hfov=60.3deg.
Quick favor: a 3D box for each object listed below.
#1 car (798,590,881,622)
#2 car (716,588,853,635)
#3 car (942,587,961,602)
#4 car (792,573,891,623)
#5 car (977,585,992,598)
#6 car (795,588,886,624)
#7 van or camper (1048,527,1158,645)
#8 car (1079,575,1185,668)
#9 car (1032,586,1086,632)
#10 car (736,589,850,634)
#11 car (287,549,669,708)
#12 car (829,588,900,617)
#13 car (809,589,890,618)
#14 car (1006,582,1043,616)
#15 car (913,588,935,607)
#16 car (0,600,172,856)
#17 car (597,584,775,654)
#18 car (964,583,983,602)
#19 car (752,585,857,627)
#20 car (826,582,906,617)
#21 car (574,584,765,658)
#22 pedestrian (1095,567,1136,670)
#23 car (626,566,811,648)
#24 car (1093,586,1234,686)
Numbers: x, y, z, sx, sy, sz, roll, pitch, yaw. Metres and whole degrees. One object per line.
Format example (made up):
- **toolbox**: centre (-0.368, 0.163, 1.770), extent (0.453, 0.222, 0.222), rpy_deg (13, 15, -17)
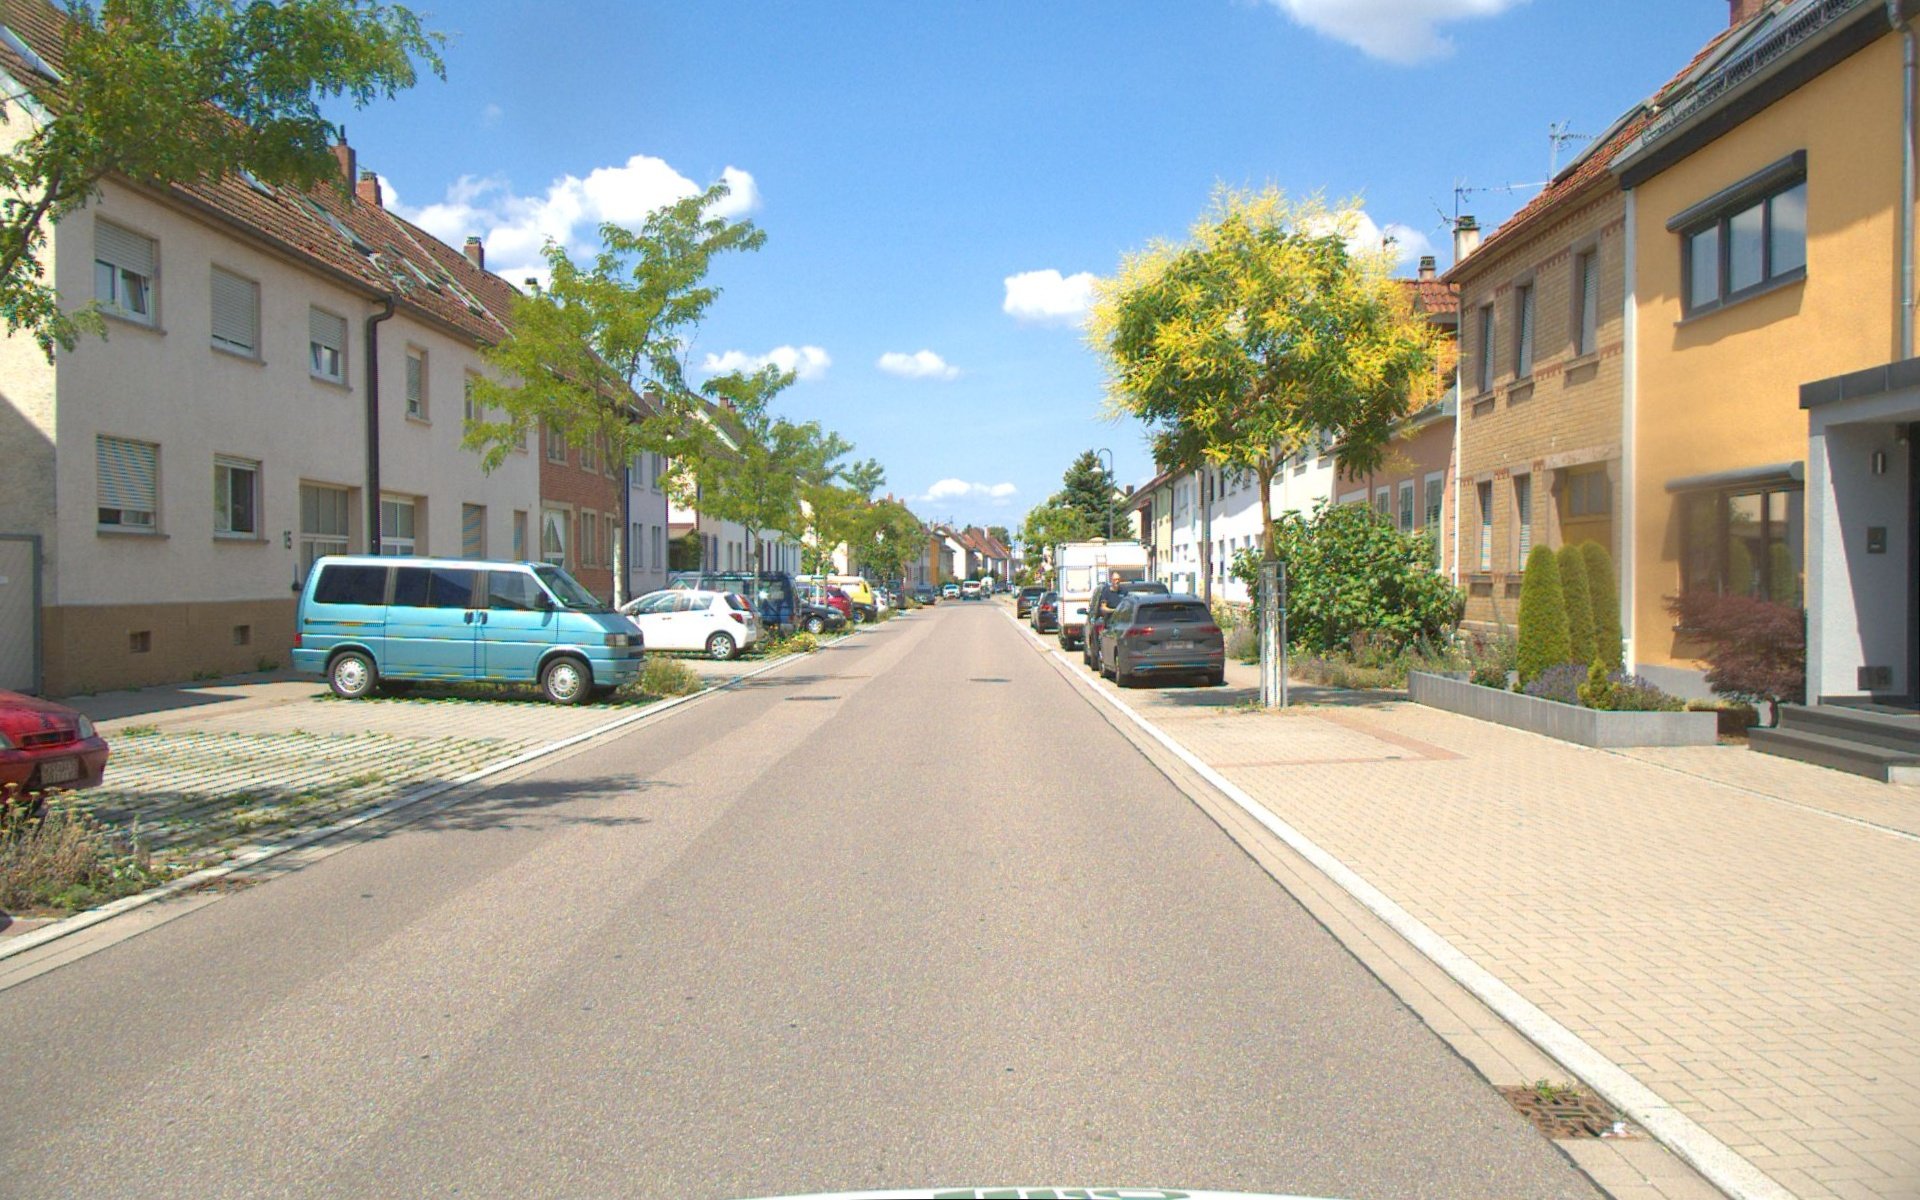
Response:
- **car**: centre (-5.958, 0.286, 81.809), extent (3.995, 1.493, 1.750), rpy_deg (1, 0, -8)
- **car**: centre (-5.938, 0.384, 56.259), extent (4.431, 1.450, 1.796), rpy_deg (1, 0, 0)
- **car**: centre (-0.984, -0.616, 193.410), extent (1.811, 1.688, 4.002), rpy_deg (2, 0, 3)
- **car**: centre (-5.509, -0.081, 77.299), extent (4.416, 2.215, 1.925), rpy_deg (1, 0, 0)
- **car**: centre (3.030, -1.086, 203.664), extent (1.726, 1.549, 4.049), rpy_deg (-1, 0, 0)
- **car**: centre (-5.363, 0.263, 74.712), extent (3.927, 1.485, 1.755), rpy_deg (1, 0, 0)
- **van or camper**: centre (3.677, -0.370, 43.624), extent (2.422, 2.859, 5.790), rpy_deg (-1, 1, 0)
- **car**: centre (3.372, 0.398, 33.099), extent (1.730, 1.734, 4.325), rpy_deg (0, 0, 1)
- **car**: centre (3.466, 0.312, 58.362), extent (1.730, 1.556, 4.007), rpy_deg (0, 0, 1)
- **car**: centre (-6.044, 0.416, 60.245), extent (3.972, 1.503, 1.775), rpy_deg (1, 0, -2)
- **car**: centre (-6.511, 0.382, 22.741), extent (4.580, 1.940, 2.000), rpy_deg (2, -1, 1)
- **car**: centre (-5.576, 0.146, 96.707), extent (4.100, 1.596, 1.773), rpy_deg (2, -1, -3)
- **car**: centre (-5.996, 0.209, 89.830), extent (4.205, 1.493, 1.774), rpy_deg (1, -1, 2)
- **car**: centre (3.379, -0.072, 85.731), extent (1.825, 1.664, 4.448), rpy_deg (-2, 1, 3)
- **car**: centre (-3.169, -0.240, 144.505), extent (1.780, 1.458, 4.138), rpy_deg (4, 2, -2)
- **car**: centre (-7.121, 0.676, 10.130), extent (3.705, 1.409, 1.726), rpy_deg (2, 0, 1)
- **car**: centre (-6.460, 0.438, 39.220), extent (3.834, 1.514, 1.773), rpy_deg (1, 0, 2)
- **car**: centre (1.453, -0.823, 177.155), extent (1.981, 1.984, 4.898), rpy_deg (0, 0, 0)
- **car**: centre (-6.493, 0.233, 69.374), extent (4.166, 1.639, 1.843), rpy_deg (1, 0, 0)
- **car**: centre (-5.635, -0.010, 99.490), extent (4.603, 1.957, 1.938), rpy_deg (2, -1, 0)
- **car**: centre (-6.400, 0.453, 36.671), extent (3.834, 1.514, 1.773), rpy_deg (1, 0, 2)
- **pedestrian**: centre (2.858, 0.338, 30.440), extent (0.701, 1.885, 0.578), rpy_deg (0, 0, 1)
- **car**: centre (-6.353, 0.170, 43.814), extent (4.517, 2.031, 1.953), rpy_deg (1, 0, 2)
- **car**: centre (3.289, 0.539, 27.466), extent (1.731, 1.514, 4.295), rpy_deg (0, 0, -1)
